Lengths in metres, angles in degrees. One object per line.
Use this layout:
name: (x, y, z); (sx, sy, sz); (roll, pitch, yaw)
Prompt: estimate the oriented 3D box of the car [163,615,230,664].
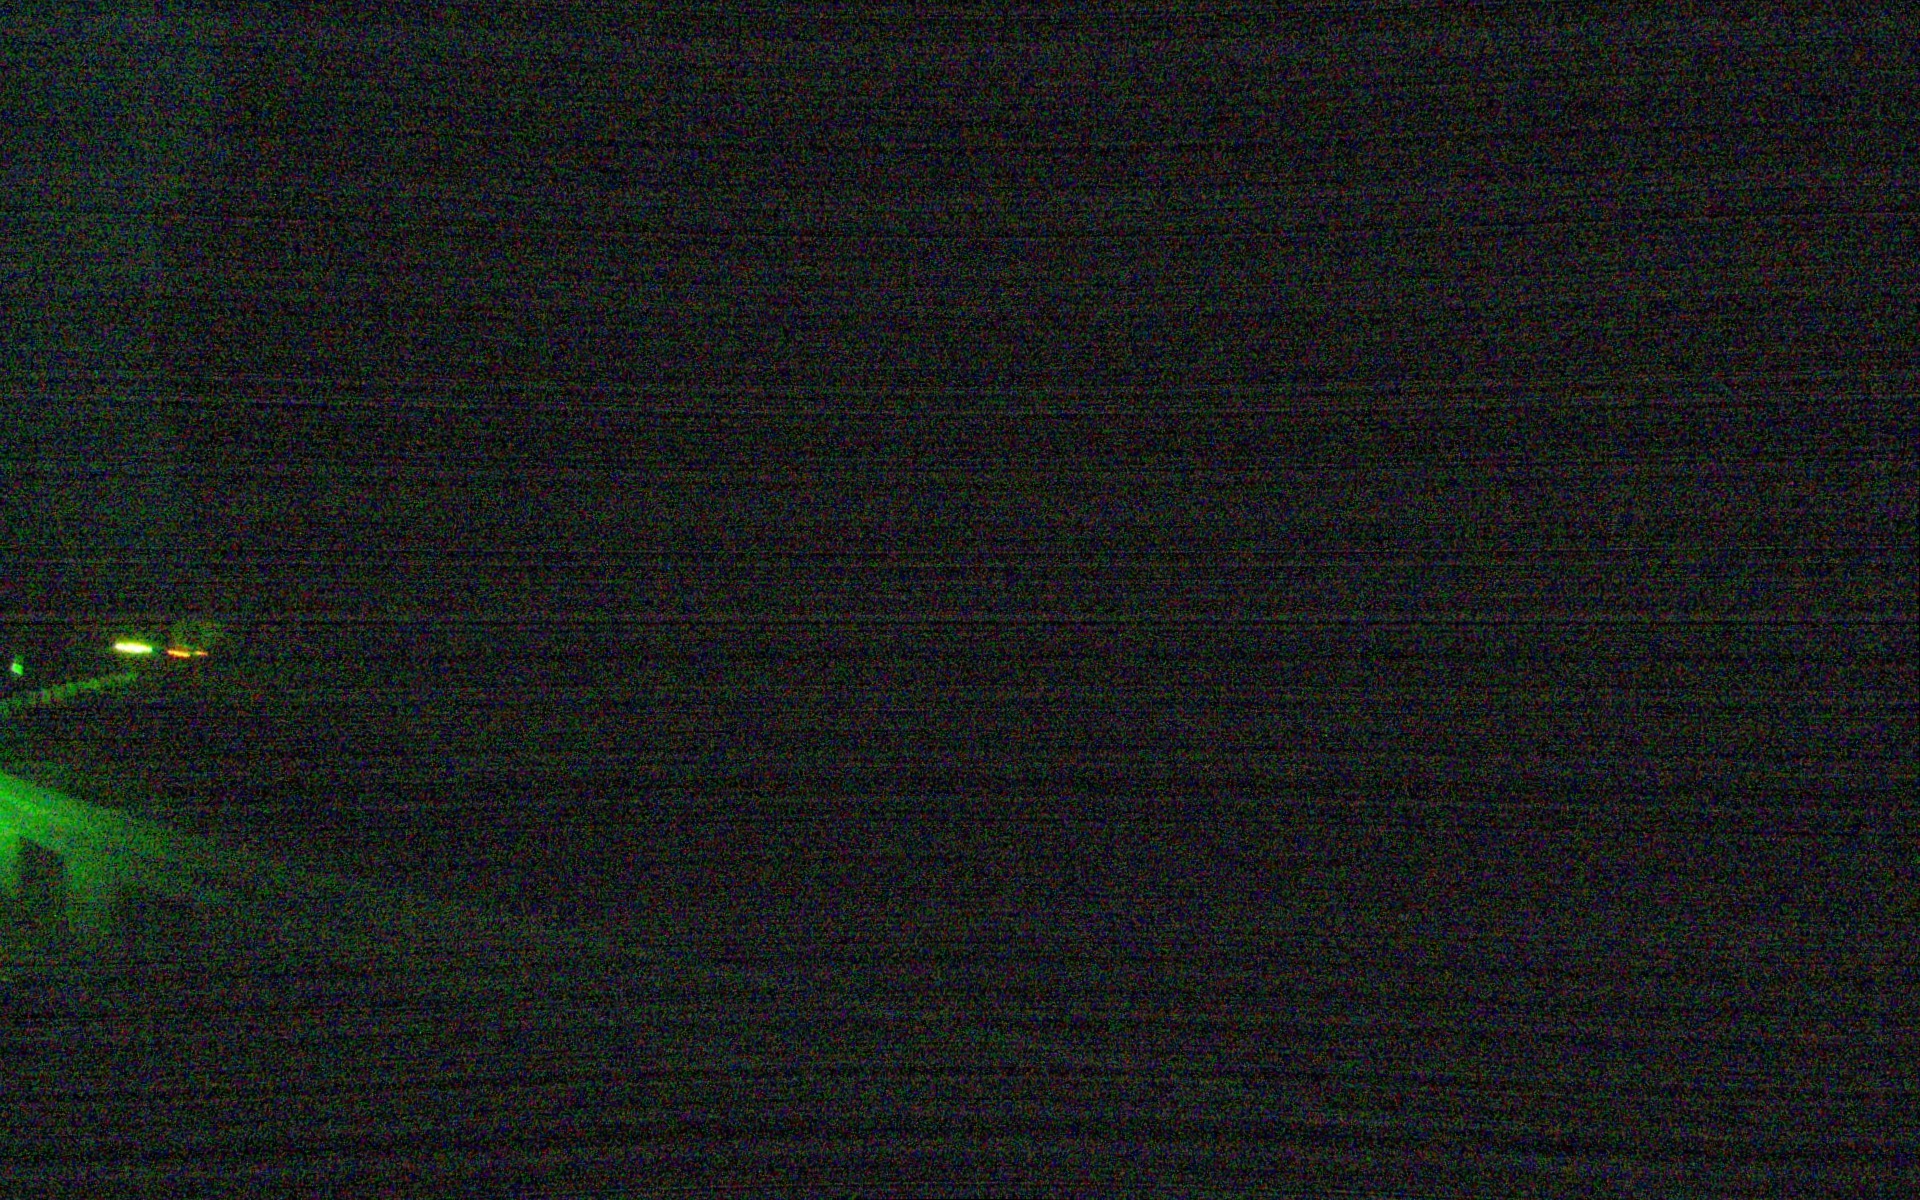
car: (-84.053, 4.462, 110.561); (5.232, 5.154, 12.397); (2, -3, -35)
